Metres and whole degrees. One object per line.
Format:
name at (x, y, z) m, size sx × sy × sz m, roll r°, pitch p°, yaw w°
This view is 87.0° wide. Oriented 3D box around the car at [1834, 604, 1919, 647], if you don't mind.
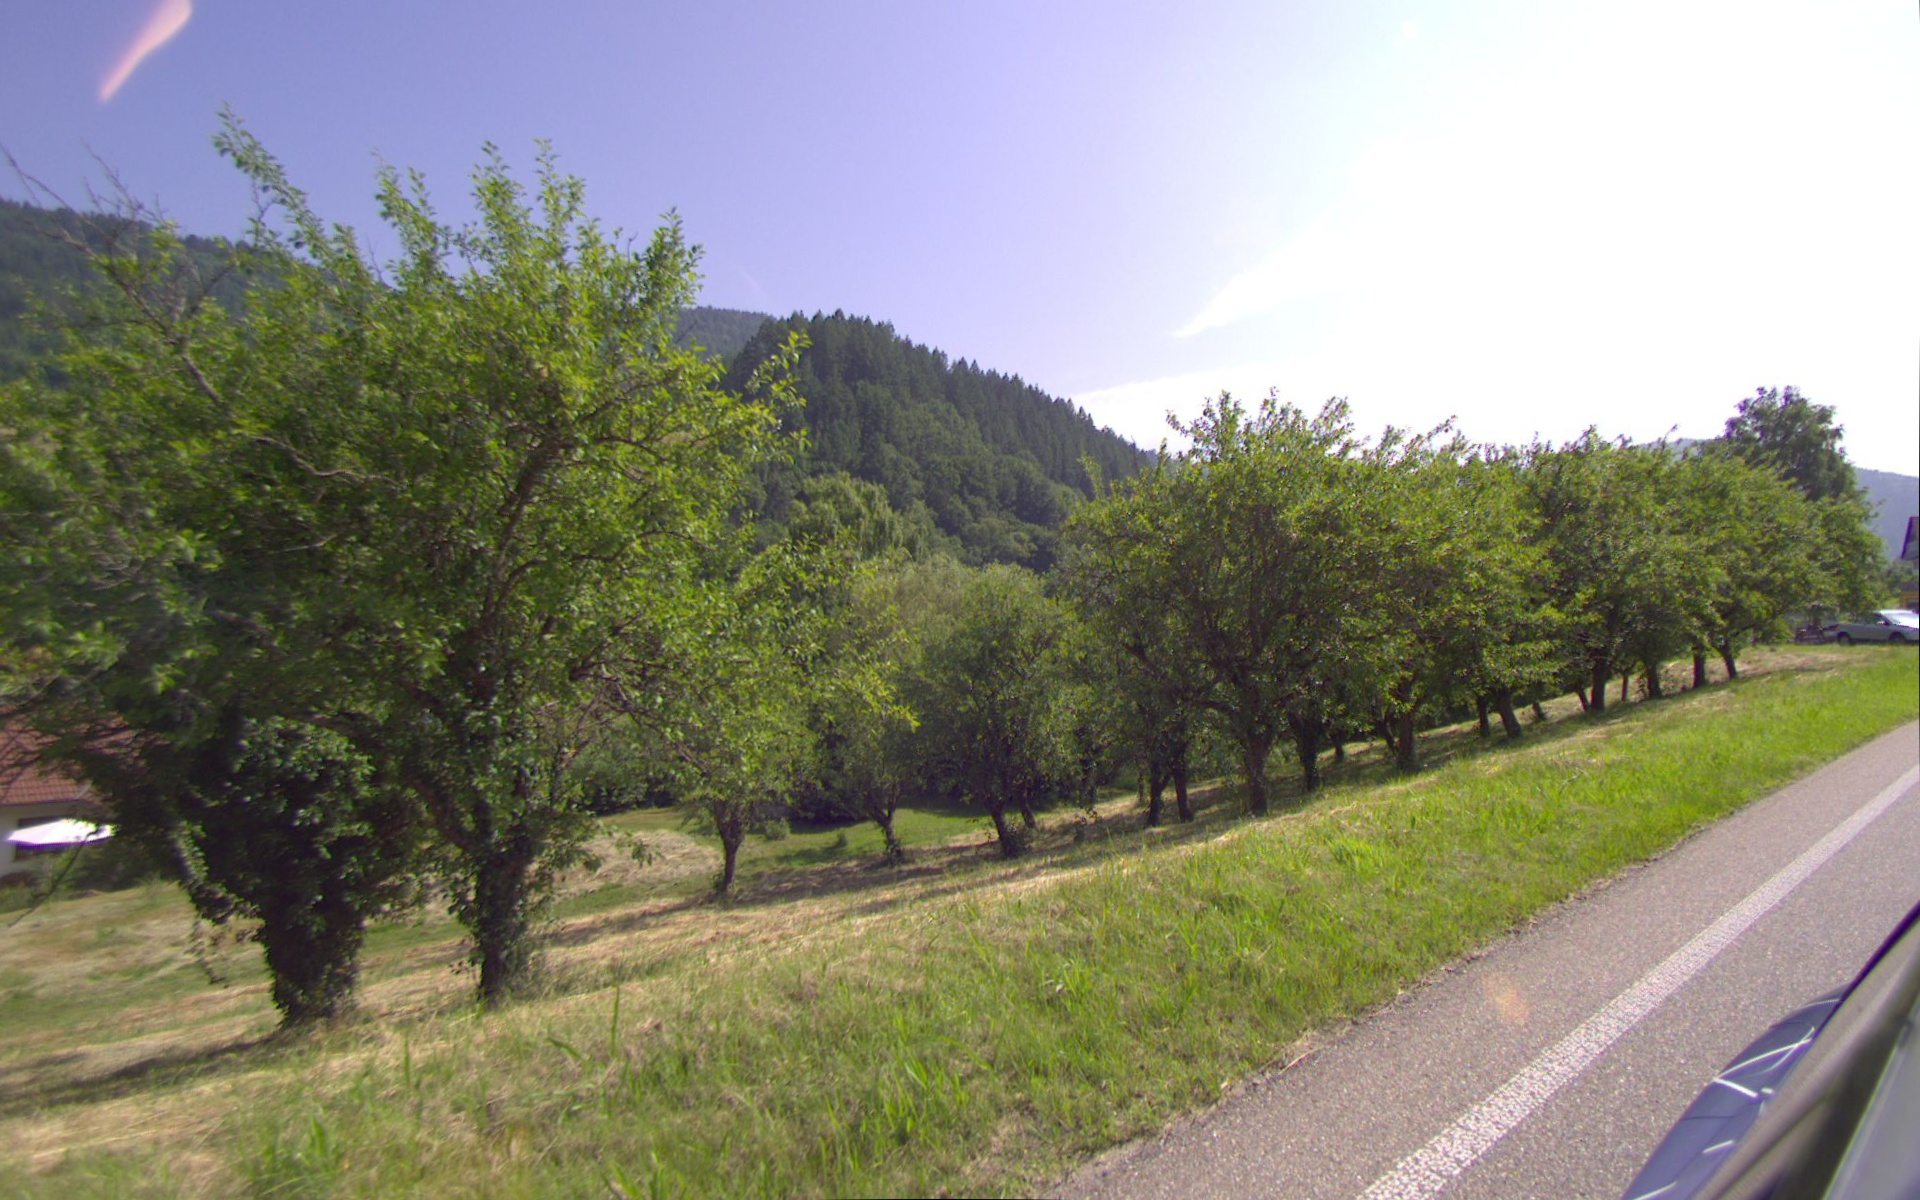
car at (36.979, 1.006, 39.557) m, size 1.871 × 1.591 × 4.455 m, roll -1°, pitch -2°, yaw 4°
